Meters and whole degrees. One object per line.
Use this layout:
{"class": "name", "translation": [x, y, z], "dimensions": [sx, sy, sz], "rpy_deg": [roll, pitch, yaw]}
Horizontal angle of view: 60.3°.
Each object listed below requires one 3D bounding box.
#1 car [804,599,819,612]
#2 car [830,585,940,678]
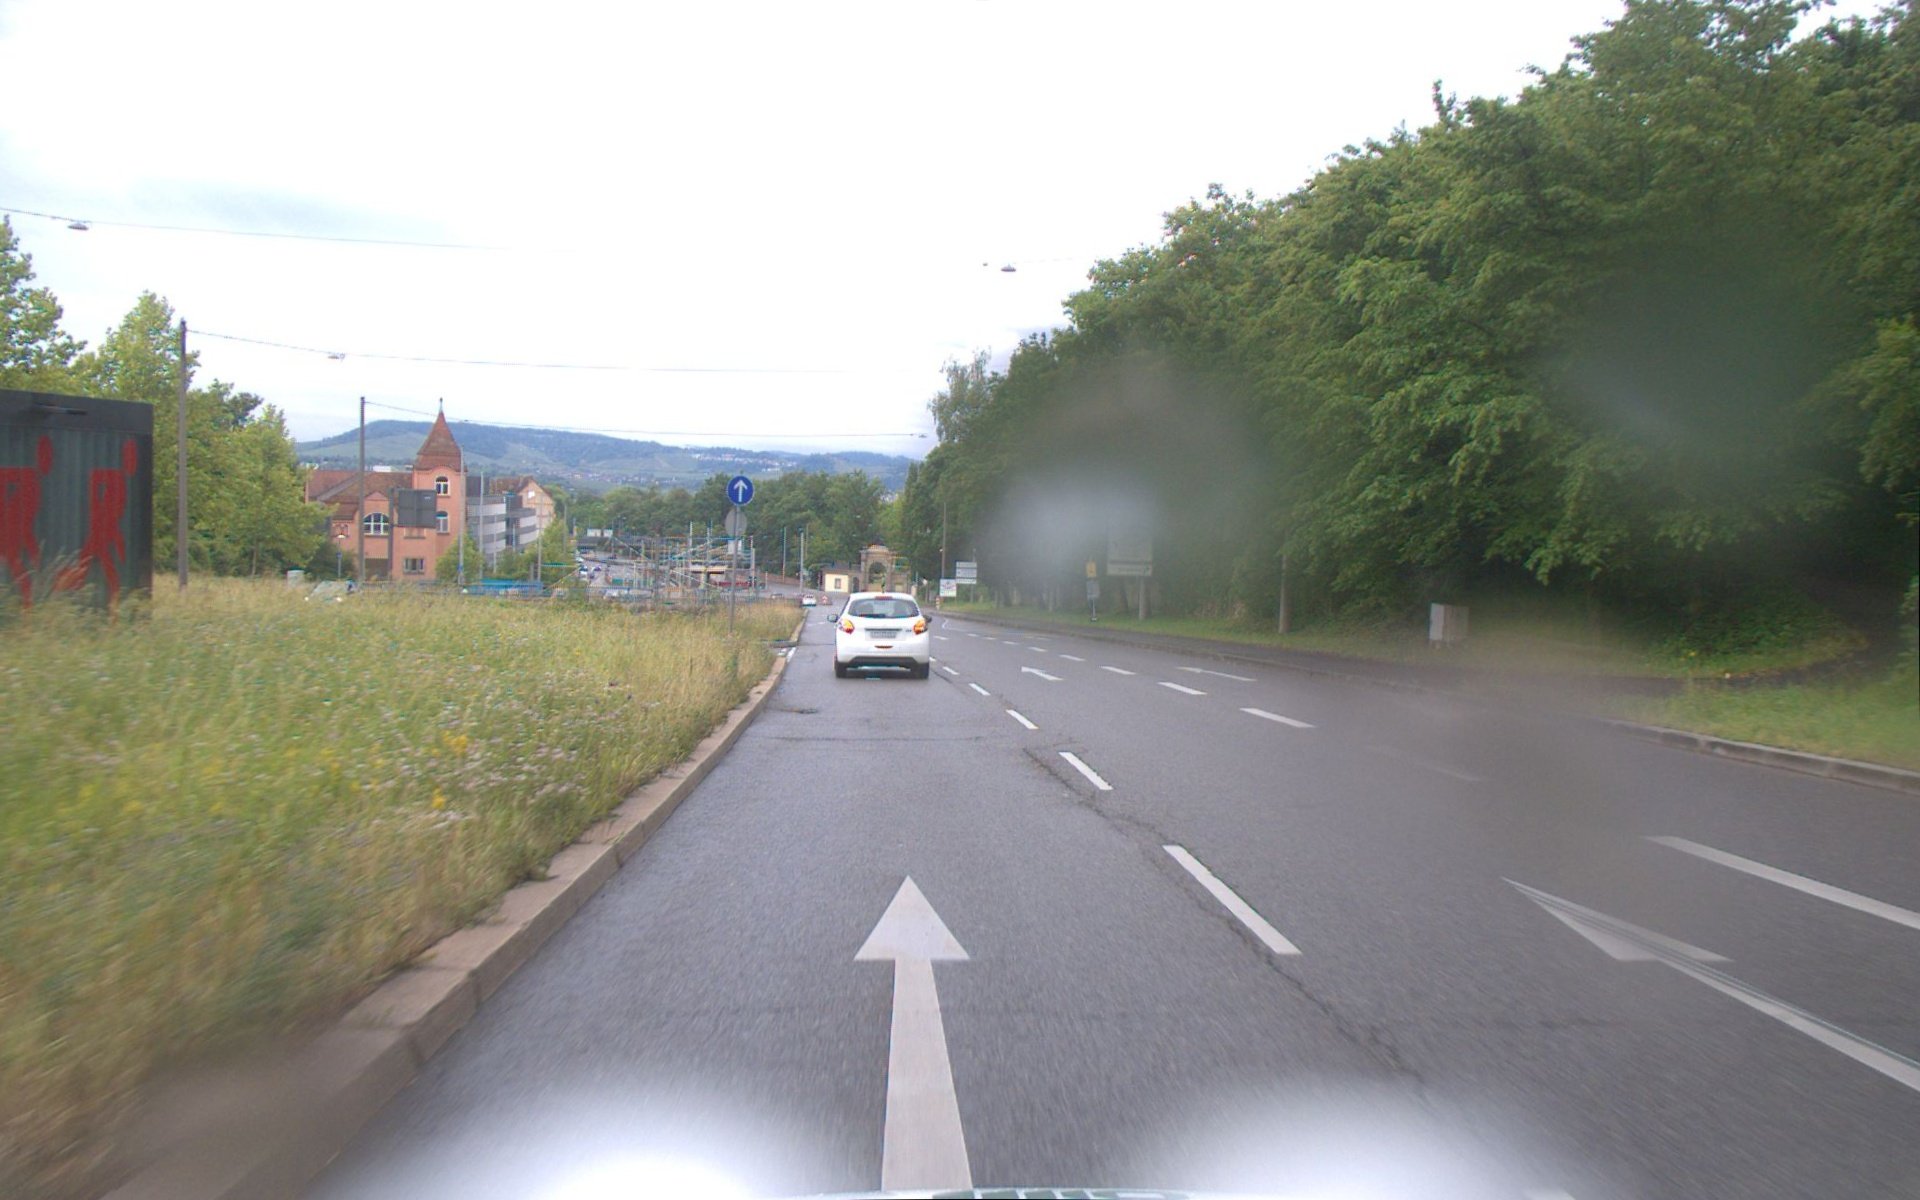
{"class": "car", "translation": [-19.372, 0.752, 216.376], "dimensions": [1.786, 1.634, 3.997], "rpy_deg": [-1, 0, -4]}
{"class": "car", "translation": [-1.345, 0.528, 30.137], "dimensions": [1.831, 1.537, 3.898], "rpy_deg": [2, 0, -2]}
